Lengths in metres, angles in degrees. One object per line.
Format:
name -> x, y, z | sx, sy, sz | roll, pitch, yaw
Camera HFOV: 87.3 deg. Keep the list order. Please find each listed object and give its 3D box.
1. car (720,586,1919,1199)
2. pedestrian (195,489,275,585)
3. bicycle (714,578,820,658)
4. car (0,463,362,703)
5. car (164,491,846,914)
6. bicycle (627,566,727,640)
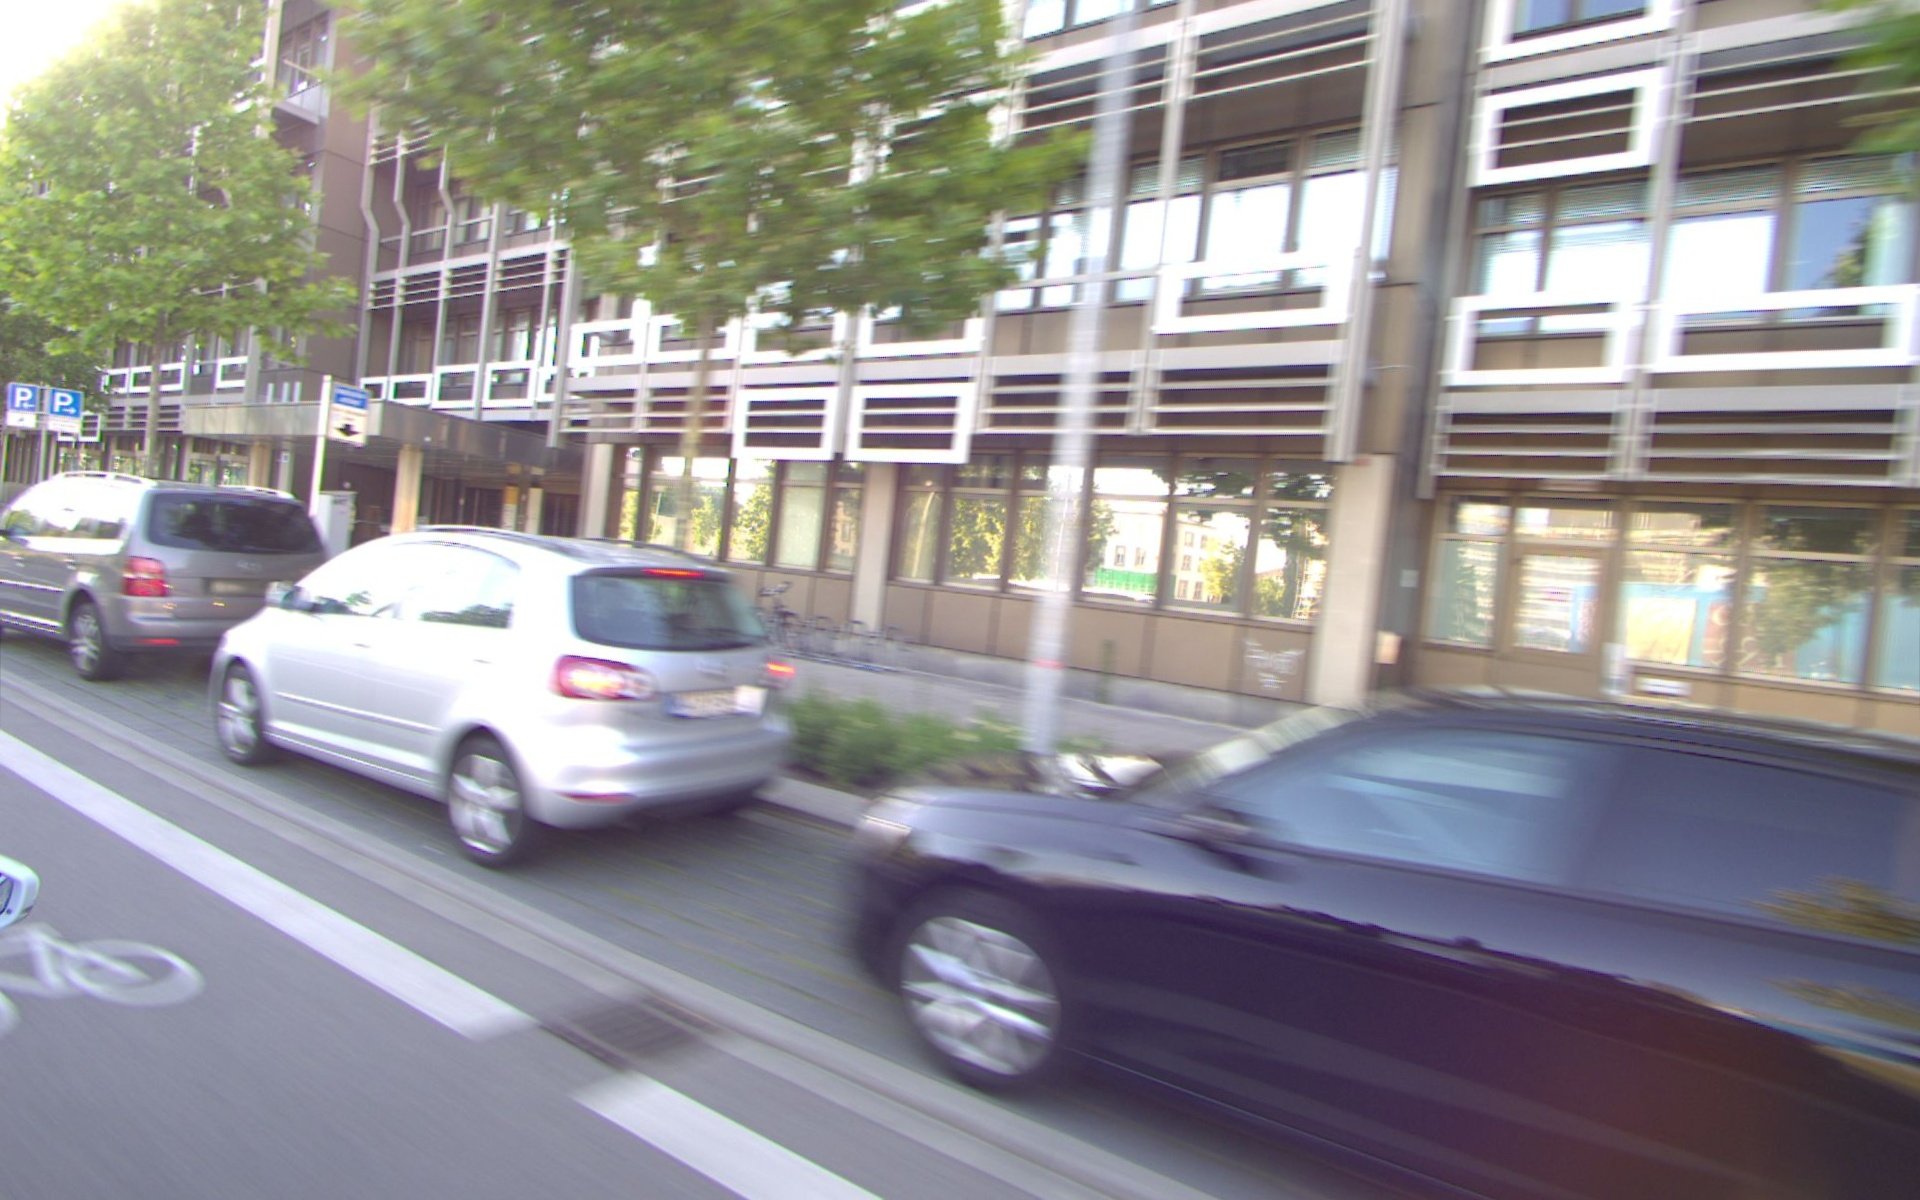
car -> 1.472, 0.940, 3.208 | 4.304, 1.468, 1.794 | 7, 2, 33
pedestrian -> -13.741, -1.191, 19.068 | 1.118, 1.670, 0.789 | 7, 2, 33
bicycle -> -2.871, 0.287, 15.176 | 0.385, 1.107, 1.902 | 7, 1, 27
car -> -7.734, -0.284, 9.452 | 4.439, 1.711, 1.728 | 7, 3, 32
car -> -2.932, 0.363, 6.180 | 4.146, 1.643, 1.728 | 7, 3, 32
bicycle -> -4.653, 0.070, 16.620 | 0.386, 1.096, 1.627 | 7, 1, 34
